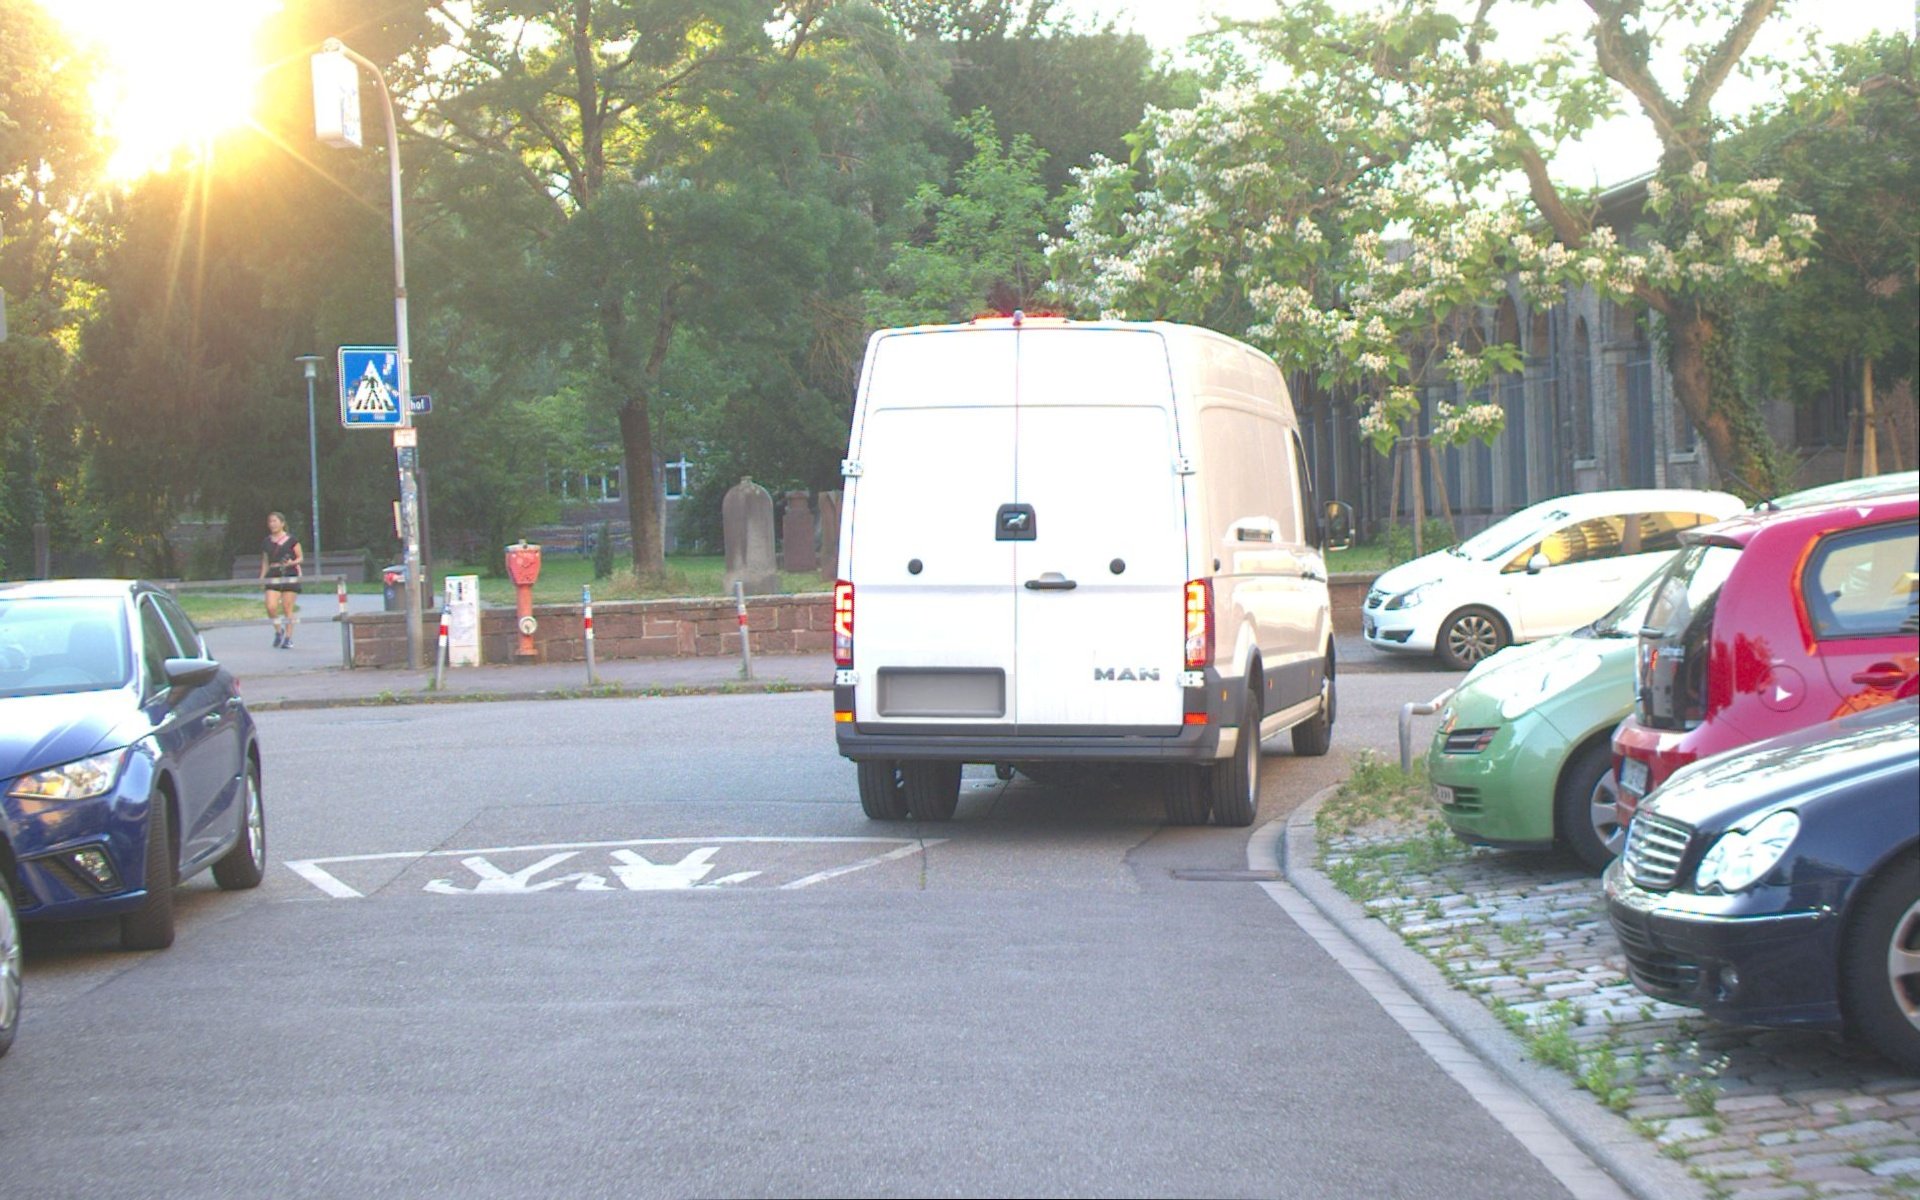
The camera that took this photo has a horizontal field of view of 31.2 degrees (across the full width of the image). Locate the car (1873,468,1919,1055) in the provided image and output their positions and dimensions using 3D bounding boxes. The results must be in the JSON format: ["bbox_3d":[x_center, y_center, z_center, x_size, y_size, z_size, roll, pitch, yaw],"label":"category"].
[{"bbox_3d":[4.432,0.352,7.190,4.403,1.656,1.846,-4,0,-3],"label":"car"}]

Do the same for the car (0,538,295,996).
[{"bbox_3d":[-3.856,0.586,13.970,1.733,1.562,3.791,-3,2,-4],"label":"car"}]

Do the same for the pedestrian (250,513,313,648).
[{"bbox_3d":[-8.282,-0.243,41.980,0.646,1.643,0.674,0,1,-1],"label":"pedestrian"}]

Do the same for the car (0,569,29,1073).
[{"bbox_3d":[-3.633,0.696,8.622,1.733,1.562,3.698,-3,2,-4],"label":"car"}]

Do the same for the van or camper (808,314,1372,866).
[{"bbox_3d":[0.980,-0.132,19.751,1.995,2.609,6.399,2,2,13],"label":"van or camper"}]

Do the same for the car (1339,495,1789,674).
[{"bbox_3d":[5.687,-0.175,32.685,3.854,1.568,1.958,-1,2,-3],"label":"car"}]

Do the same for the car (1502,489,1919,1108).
[{"bbox_3d":[3.944,0.406,9.707,4.403,1.526,1.846,-3,-1,-3],"label":"car"}]

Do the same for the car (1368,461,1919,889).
[{"bbox_3d":[4.152,0.245,14.903,4.403,1.626,1.846,-3,-1,-3],"label":"car"}]

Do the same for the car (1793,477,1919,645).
[{"bbox_3d":[10.211,-0.468,32.340,4.293,1.498,1.823,-3,1,4],"label":"car"}]

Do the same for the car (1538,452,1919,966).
[{"bbox_3d":[4.503,0.185,12.431,4.404,1.625,1.846,-6,1,1],"label":"car"}]
